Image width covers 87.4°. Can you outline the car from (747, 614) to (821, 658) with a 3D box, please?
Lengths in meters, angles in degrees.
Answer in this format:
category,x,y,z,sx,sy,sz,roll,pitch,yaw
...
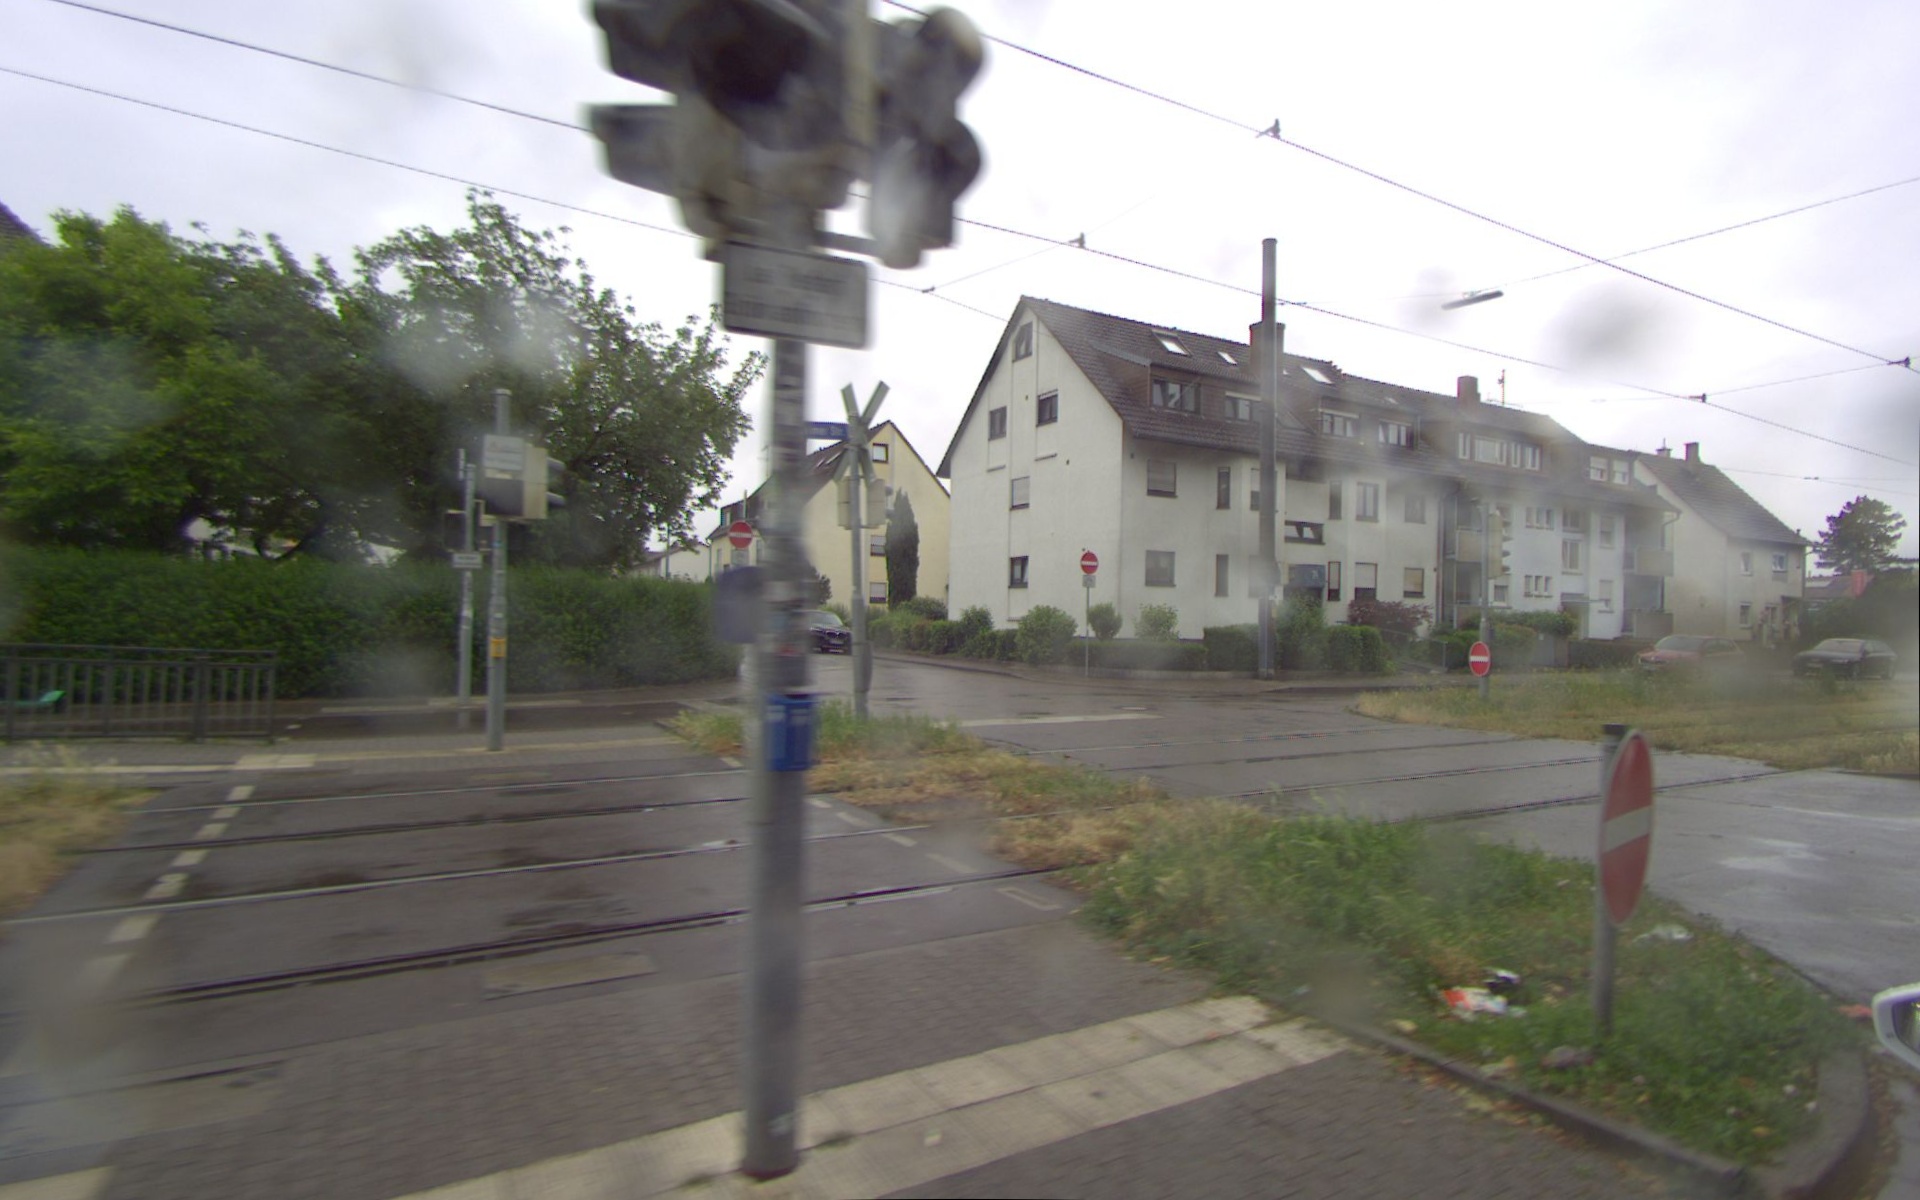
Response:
category,x,y,z,sx,sy,sz,roll,pitch,yaw
car,-7.530,1.517,42.731,1.975,1.674,3.972,2,-1,-27

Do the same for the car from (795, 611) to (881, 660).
category,x,y,z,sx,sy,sz,roll,pitch,yaw
car,-4.677,1.300,37.986,1.975,1.674,3.972,2,-1,-27

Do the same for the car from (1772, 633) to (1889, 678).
category,x,y,z,sx,sy,sz,roll,pitch,yaw
car,31.872,2.021,36.769,3.950,1.506,1.921,2,-1,-28

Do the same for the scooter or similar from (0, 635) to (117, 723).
category,x,y,z,sx,sy,sz,roll,pitch,yaw
scooter or similar,-12.240,1.010,13.049,1.845,1.086,0.660,2,-1,-30

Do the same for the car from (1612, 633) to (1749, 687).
category,x,y,z,sx,sy,sz,roll,pitch,yaw
car,22.460,1.869,31.304,3.950,1.506,1.921,2,-1,-28
